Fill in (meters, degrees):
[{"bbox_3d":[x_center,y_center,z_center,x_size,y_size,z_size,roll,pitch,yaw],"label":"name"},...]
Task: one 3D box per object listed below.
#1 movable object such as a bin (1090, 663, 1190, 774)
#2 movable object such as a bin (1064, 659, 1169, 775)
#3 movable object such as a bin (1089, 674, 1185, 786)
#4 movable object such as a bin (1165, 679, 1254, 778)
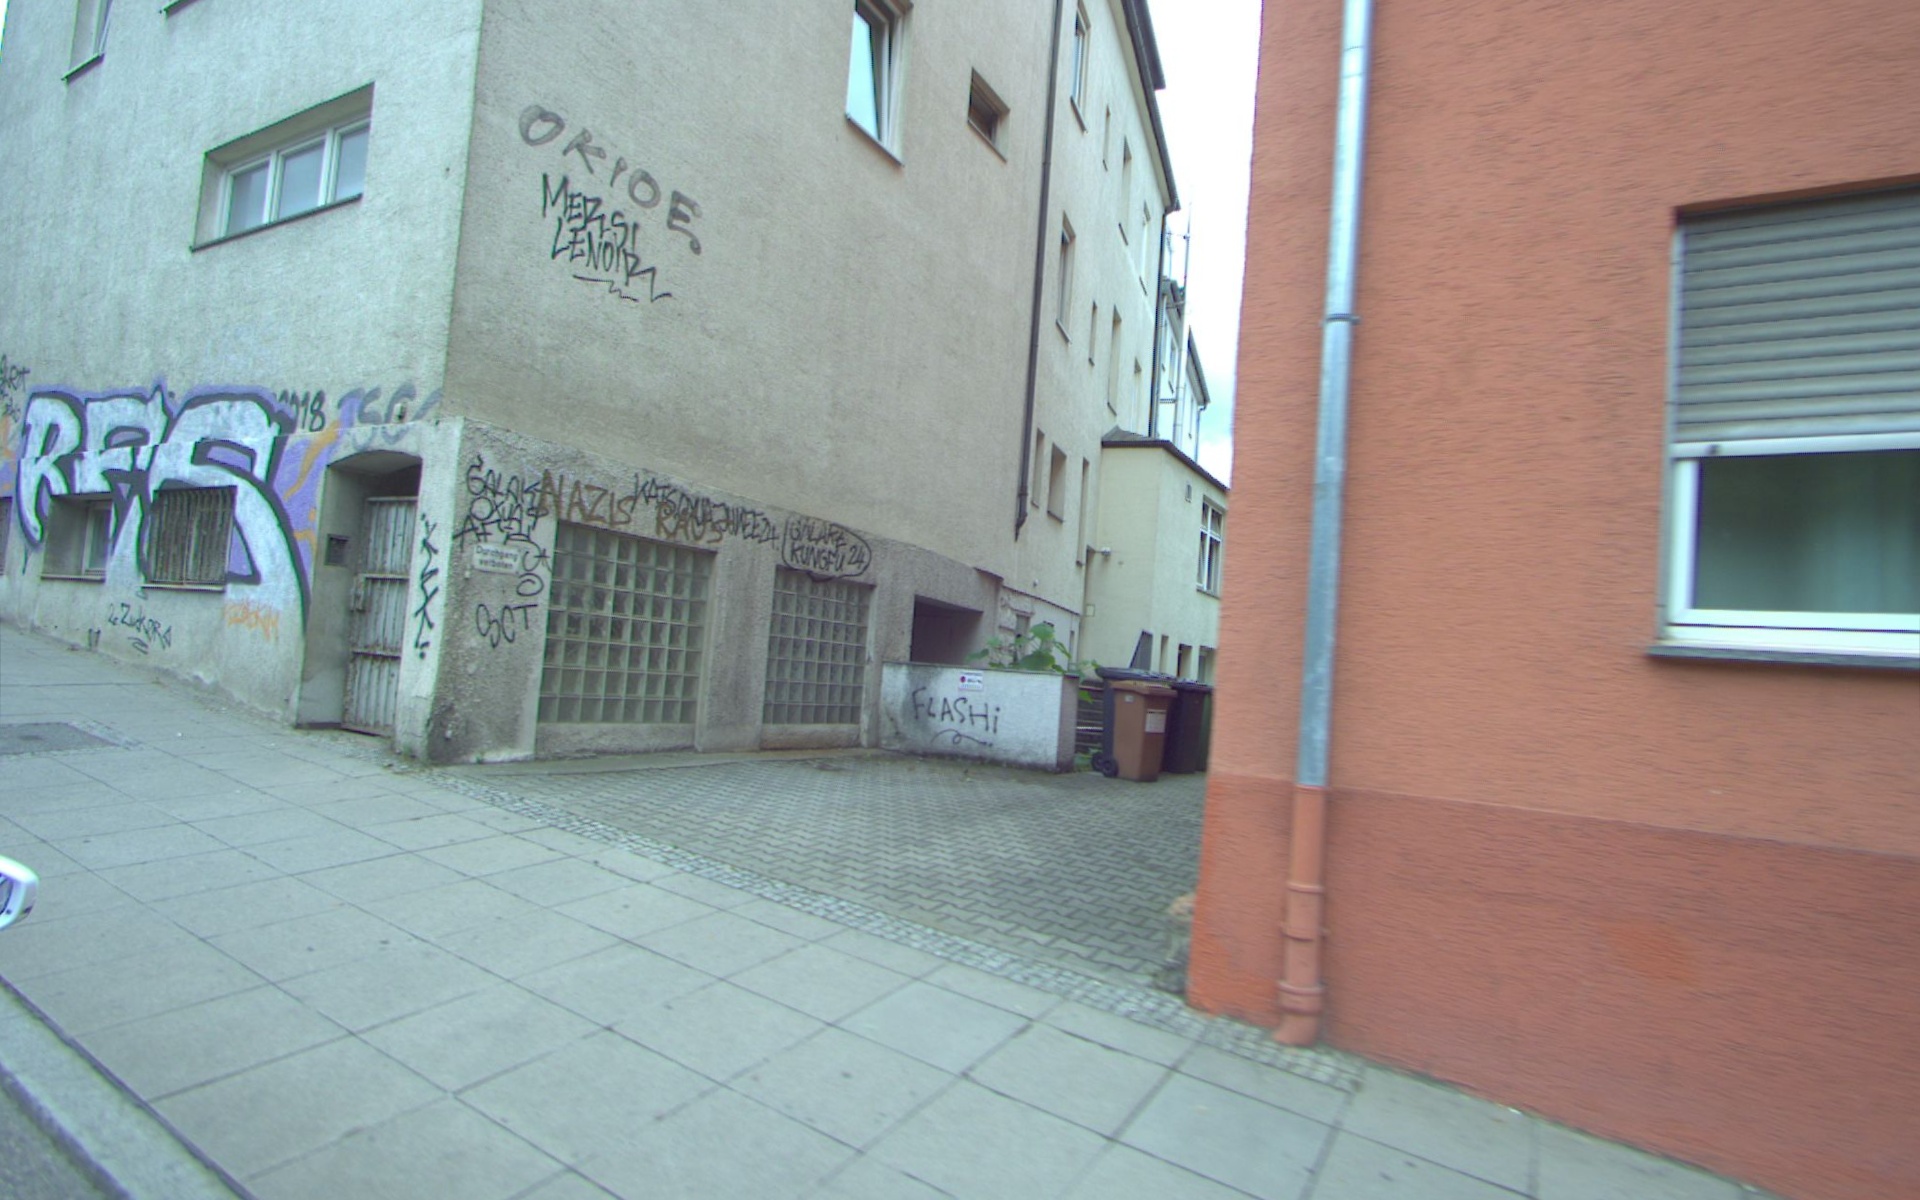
[{"bbox_3d":[1.921,1.247,10.732,0.817,1.034,0.500,7,0,32],"label":"movable object such as a bin"},{"bbox_3d":[1.593,1.181,10.271,0.817,1.034,0.500,7,0,32],"label":"movable object such as a bin"},{"bbox_3d":[1.679,1.220,9.553,0.657,0.933,0.500,7,0,31],"label":"movable object such as a bin"},{"bbox_3d":[3.000,1.529,12.109,0.817,1.034,0.500,7,0,32],"label":"movable object such as a bin"}]
